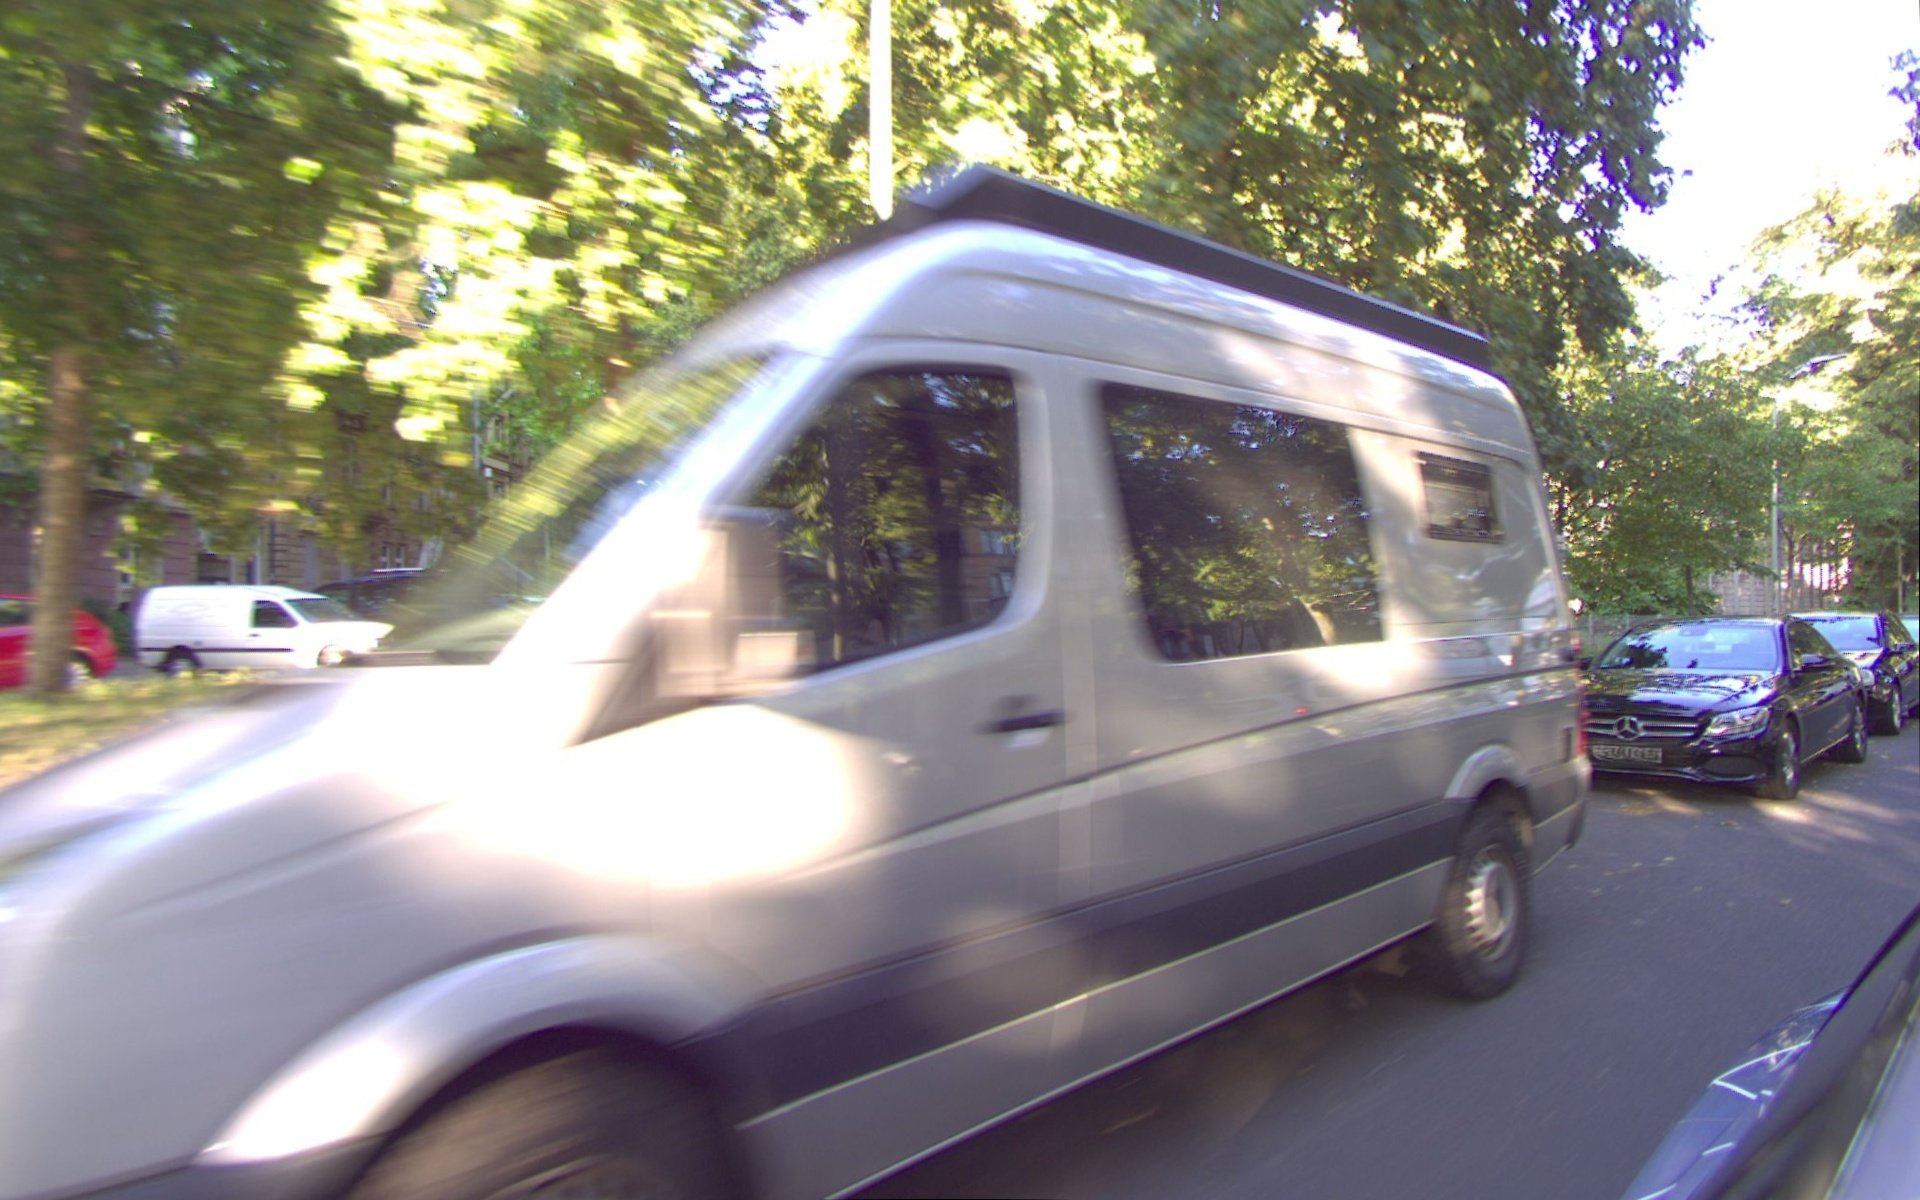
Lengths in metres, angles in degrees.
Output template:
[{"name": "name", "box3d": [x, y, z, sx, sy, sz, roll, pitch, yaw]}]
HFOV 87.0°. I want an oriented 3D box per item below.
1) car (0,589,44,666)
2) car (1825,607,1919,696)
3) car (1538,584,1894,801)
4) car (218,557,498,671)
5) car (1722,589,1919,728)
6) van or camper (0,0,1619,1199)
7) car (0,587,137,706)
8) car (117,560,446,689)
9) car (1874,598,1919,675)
[{"name": "car", "box3d": [-22.936, 0.541, 22.287, 4.412, 1.652, 1.729, 1, -1, 10]}, {"name": "car", "box3d": [15.558, 0.765, 16.517, 4.214, 1.299, 1.682, 0, -1, -42]}, {"name": "car", "box3d": [7.093, 0.671, 9.314, 4.410, 1.545, 1.683, 0, -1, -40]}, {"name": "car", "box3d": [-11.406, 0.279, 19.319, 4.323, 1.799, 1.784, -4, -1, 5]}, {"name": "car", "box3d": [11.566, 0.658, 13.216, 4.211, 1.545, 1.683, 0, -1, -40]}, {"name": "van or camper", "box3d": [0.218, 0.050, 3.685, 5.742, 2.798, 2.087, 0, -1, -40]}, {"name": "car", "box3d": [-12.743, 0.606, 12.227, 1.712, 1.467, 4.643, -2, 0, 2]}, {"name": "car", "box3d": [-11.050, 0.396, 16.631, 4.323, 1.729, 1.731, -4, -1, 5]}, {"name": "car", "box3d": [19.735, 0.677, 20.170, 4.577, 1.442, 1.683, 0, -1, -41]}]
